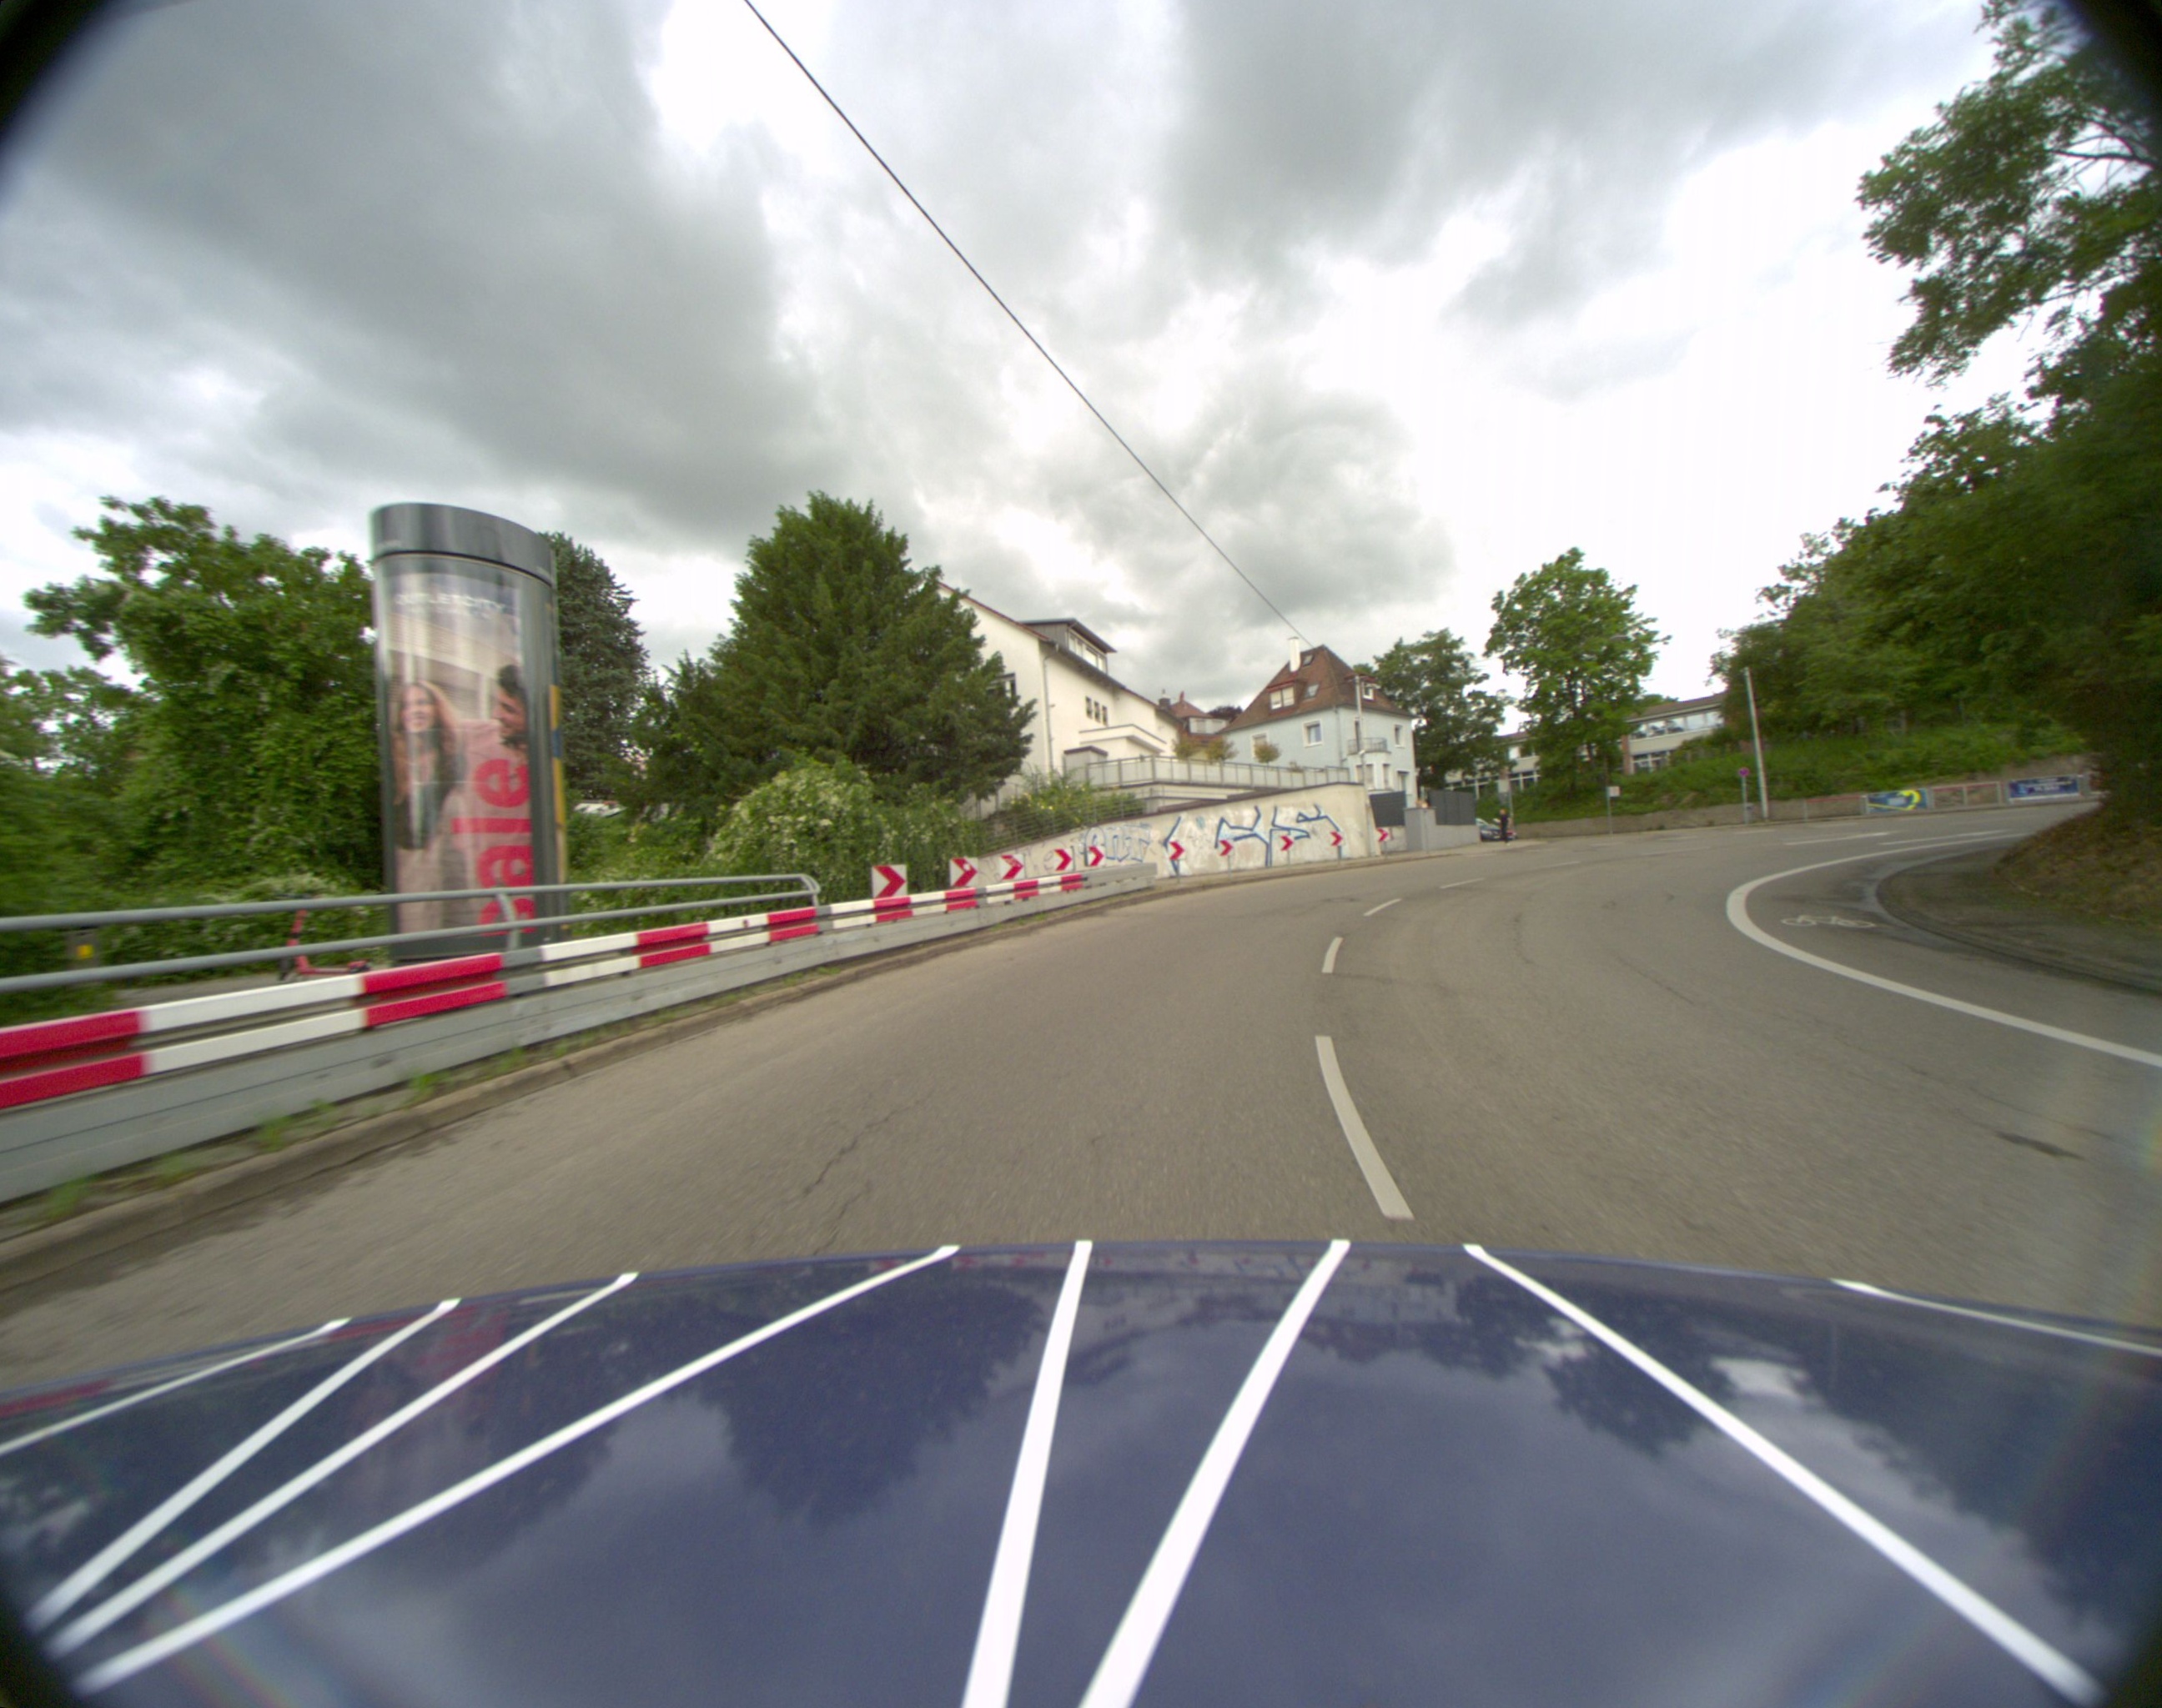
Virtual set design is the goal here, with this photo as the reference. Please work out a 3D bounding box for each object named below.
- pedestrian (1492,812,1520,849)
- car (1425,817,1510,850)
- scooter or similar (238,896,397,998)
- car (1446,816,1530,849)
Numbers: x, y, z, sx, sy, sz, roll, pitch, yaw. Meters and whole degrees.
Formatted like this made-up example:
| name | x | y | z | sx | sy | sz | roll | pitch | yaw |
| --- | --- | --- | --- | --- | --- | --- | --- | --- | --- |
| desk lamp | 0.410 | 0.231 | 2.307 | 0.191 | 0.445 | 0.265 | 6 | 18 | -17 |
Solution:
| name | x | y | z | sx | sy | sz | roll | pitch | yaw |
| --- | --- | --- | --- | --- | --- | --- | --- | --- | --- |
| pedestrian | 21.489 | -1.175 | 38.444 | 0.983 | 1.817 | 0.575 | -4 | 1 | 4 |
| car | 25.426 | -1.314 | 50.224 | 1.953 | 1.853 | 4.832 | -3 | -1 | -23 |
| scooter or similar | -10.589 | 1.272 | 10.575 | 1.501 | 1.243 | 0.436 | -4 | 0 | -13 |
| car | 28.023 | -1.462 | 52.485 | 1.953 | 1.853 | 4.832 | -3 | -1 | -25 |
